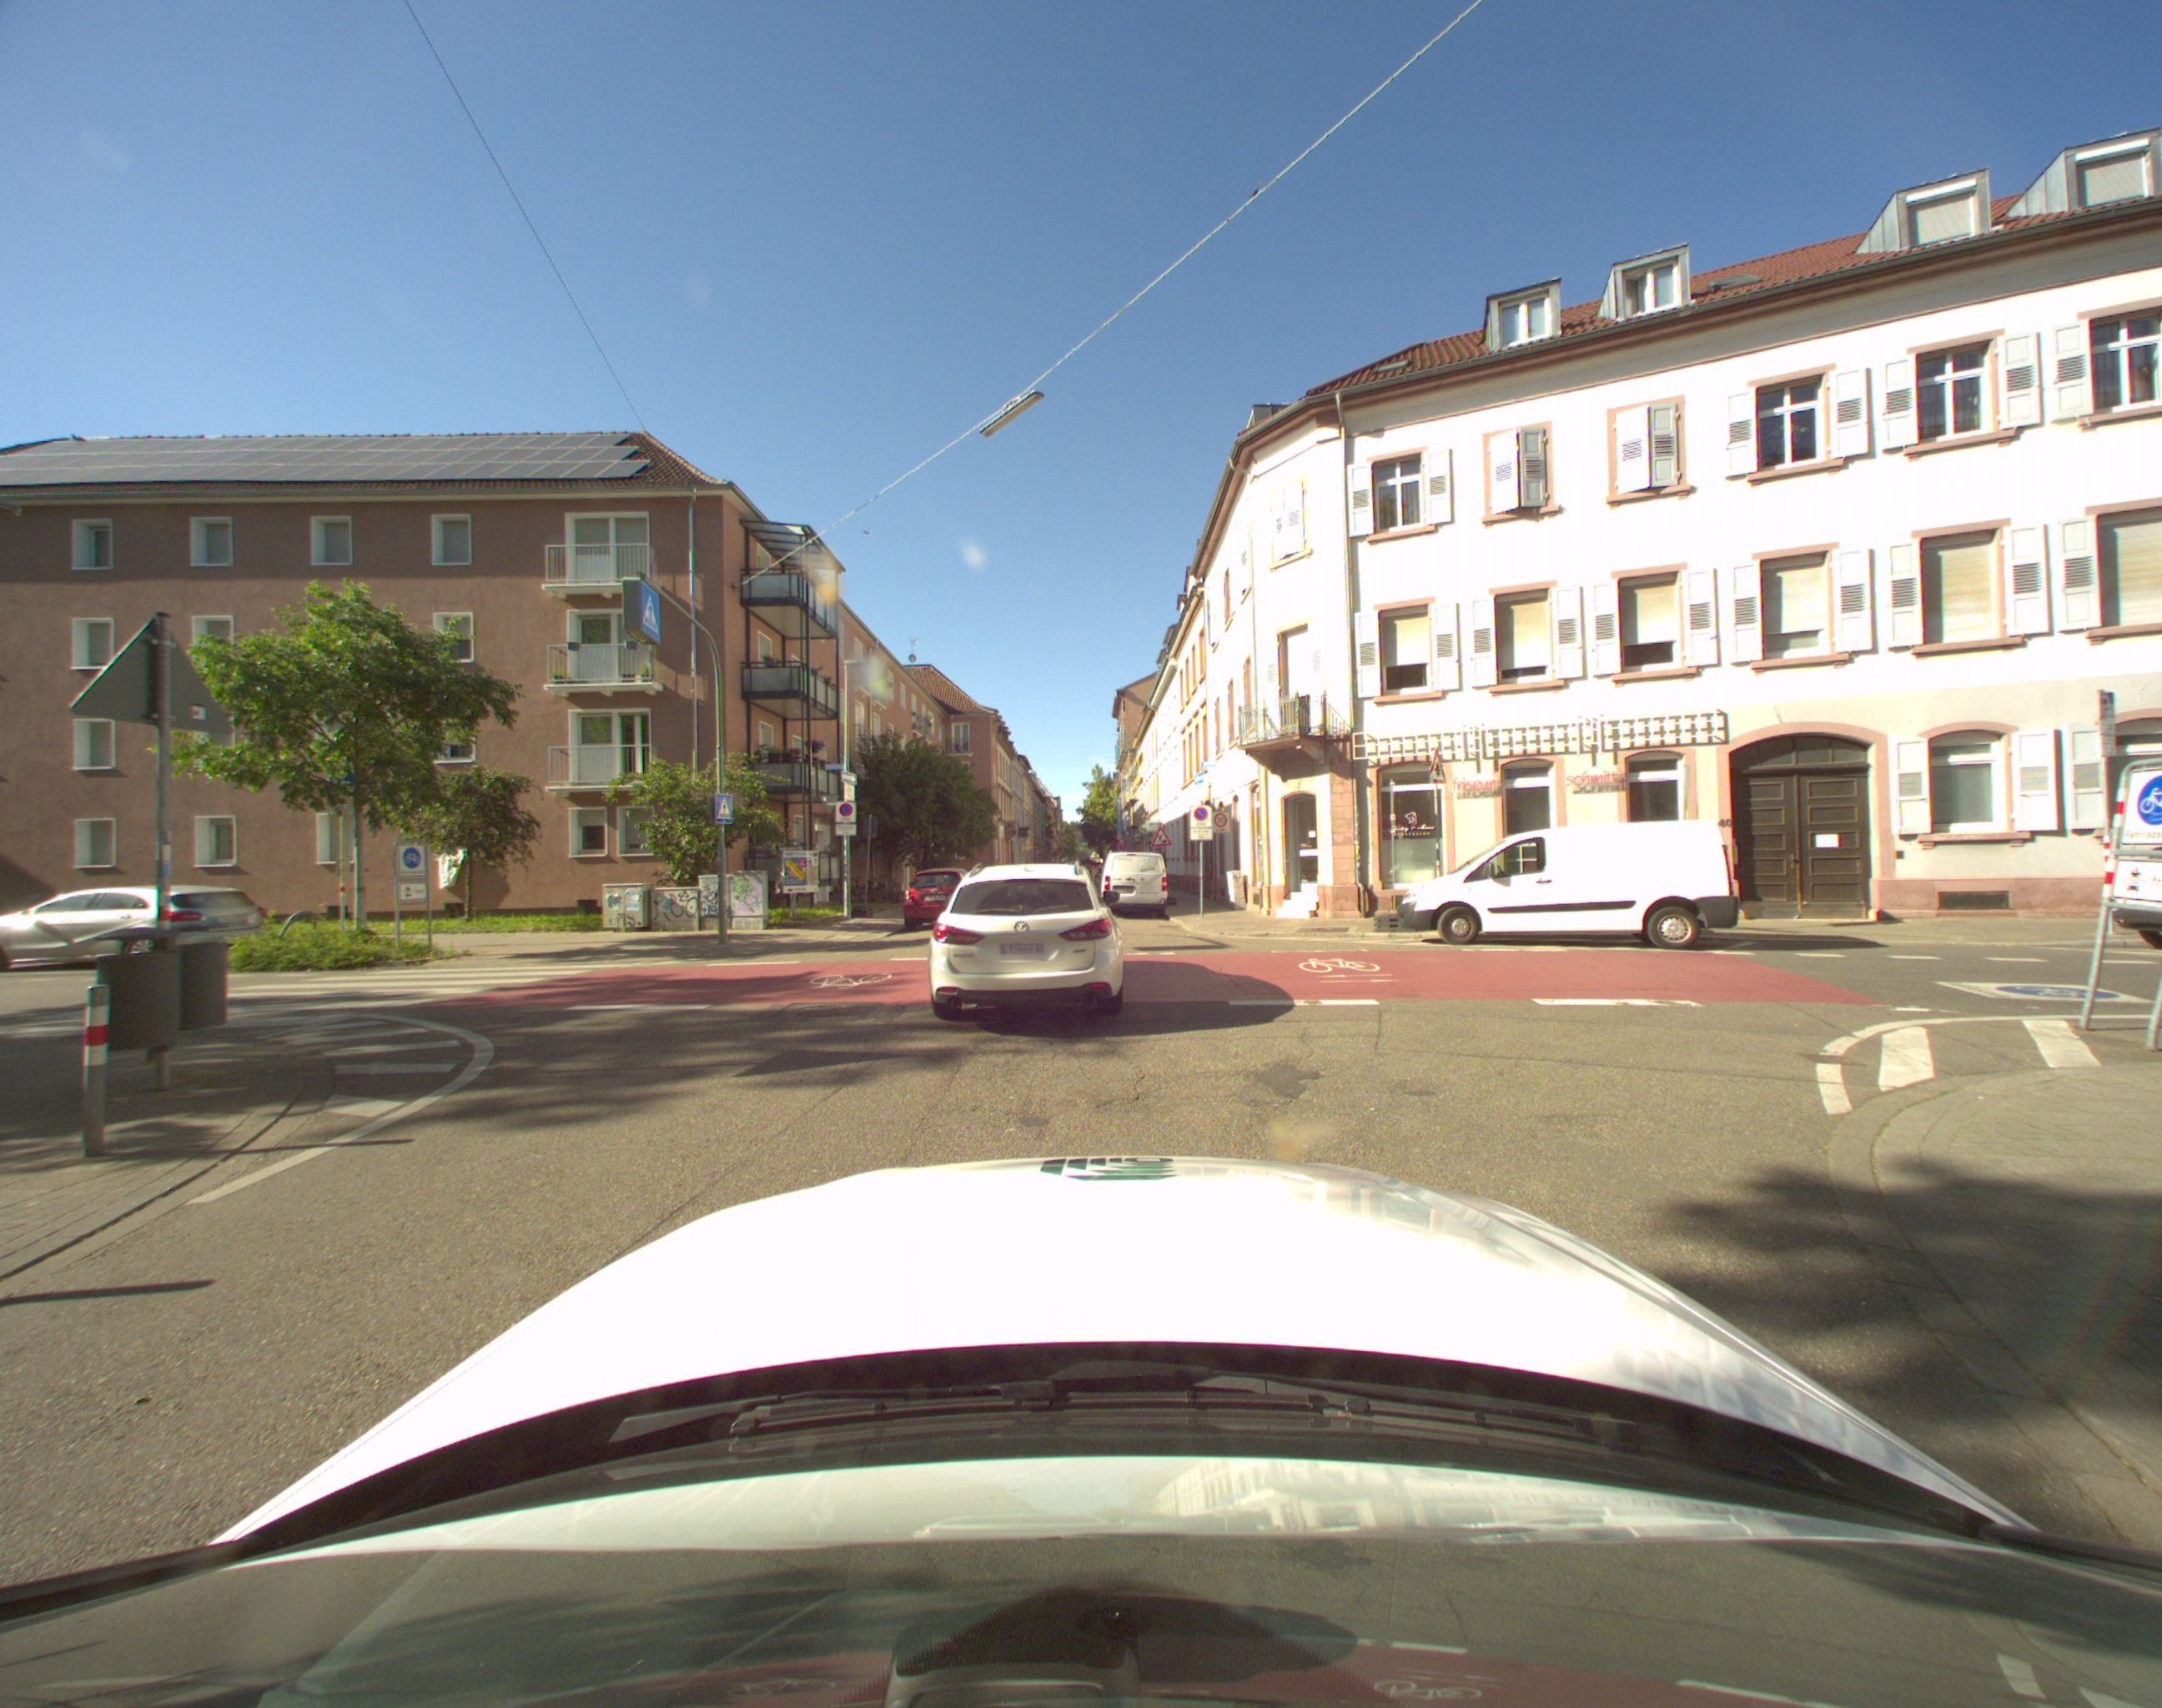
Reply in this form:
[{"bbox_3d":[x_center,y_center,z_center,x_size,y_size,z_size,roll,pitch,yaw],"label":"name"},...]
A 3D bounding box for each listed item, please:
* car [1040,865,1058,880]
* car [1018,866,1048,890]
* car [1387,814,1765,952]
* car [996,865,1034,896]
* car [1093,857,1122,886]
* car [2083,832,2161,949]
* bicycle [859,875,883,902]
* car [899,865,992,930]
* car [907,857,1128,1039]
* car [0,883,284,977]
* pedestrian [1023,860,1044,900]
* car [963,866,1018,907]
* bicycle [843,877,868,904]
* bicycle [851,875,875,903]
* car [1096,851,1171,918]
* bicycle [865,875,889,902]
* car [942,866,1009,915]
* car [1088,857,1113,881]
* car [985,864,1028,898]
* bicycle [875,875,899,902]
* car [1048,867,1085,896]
[{"bbox_3d":[-3.332,1.910,85.553,1.647,1.500,3.764,-1,-1,1],"label":"car"},{"bbox_3d":[-3.189,1.558,54.169,1.647,1.500,3.764,-1,-1,1],"label":"car"},{"bbox_3d":[7.823,0.472,13.488,4.963,1.946,2.063,-2,-1,25],"label":"car"},{"bbox_3d":[-3.496,1.387,43.725,1.647,1.500,3.764,-1,-1,1],"label":"car"},{"bbox_3d":[1.873,1.183,56.613,1.887,1.859,3.996,-2,-1,2],"label":"car"},{"bbox_3d":[16.372,0.440,10.322,4.330,1.542,1.654,-2,-2,22],"label":"car"},{"bbox_3d":[-8.445,1.385,32.675,1.201,1.071,0.255,-2,-1,40],"label":"bicycle"},{"bbox_3d":[-3.491,1.083,21.667,1.679,1.500,3.807,-3,-1,1],"label":"car"},{"bbox_3d":[-0.486,0.797,8.814,1.824,1.457,3.963,-1,0,1],"label":"car"},{"bbox_3d":[-17.385,1.339,14.740,4.128,1.454,1.745,-2,-1,0],"label":"car"},{"bbox_3d":[-1.991,1.070,33.842,0.733,1.614,0.813,-2,-1,-11],"label":"pedestrian"},{"bbox_3d":[-3.561,1.263,32.705,1.647,1.500,3.764,-1,-1,1],"label":"car"},{"bbox_3d":[-8.903,1.428,32.138,1.201,1.035,0.293,-2,-1,40],"label":"bicycle"},{"bbox_3d":[-8.682,1.393,32.397,1.201,1.072,0.268,-2,-1,40],"label":"bicycle"},{"bbox_3d":[1.521,0.880,25.252,1.889,1.859,5.011,1,-1,-1],"label":"car"},{"bbox_3d":[-8.245,1.392,32.913,1.201,1.071,0.255,-2,-1,40],"label":"bicycle"},{"bbox_3d":[-3.520,1.201,27.823,1.647,1.500,4.080,-1,-1,1],"label":"car"},{"bbox_3d":[1.604,1.242,66.414,1.888,1.859,3.995,-1,-1,1],"label":"car"},{"bbox_3d":[-3.601,1.282,39.768,1.647,1.500,3.764,-1,-1,1],"label":"car"},{"bbox_3d":[-7.877,1.386,32.988,1.204,1.071,0.255,-2,-1,40],"label":"bicycle"},{"bbox_3d":[-0.719,1.414,43.603,1.754,1.410,4.328,-1,-1,1],"label":"car"}]
